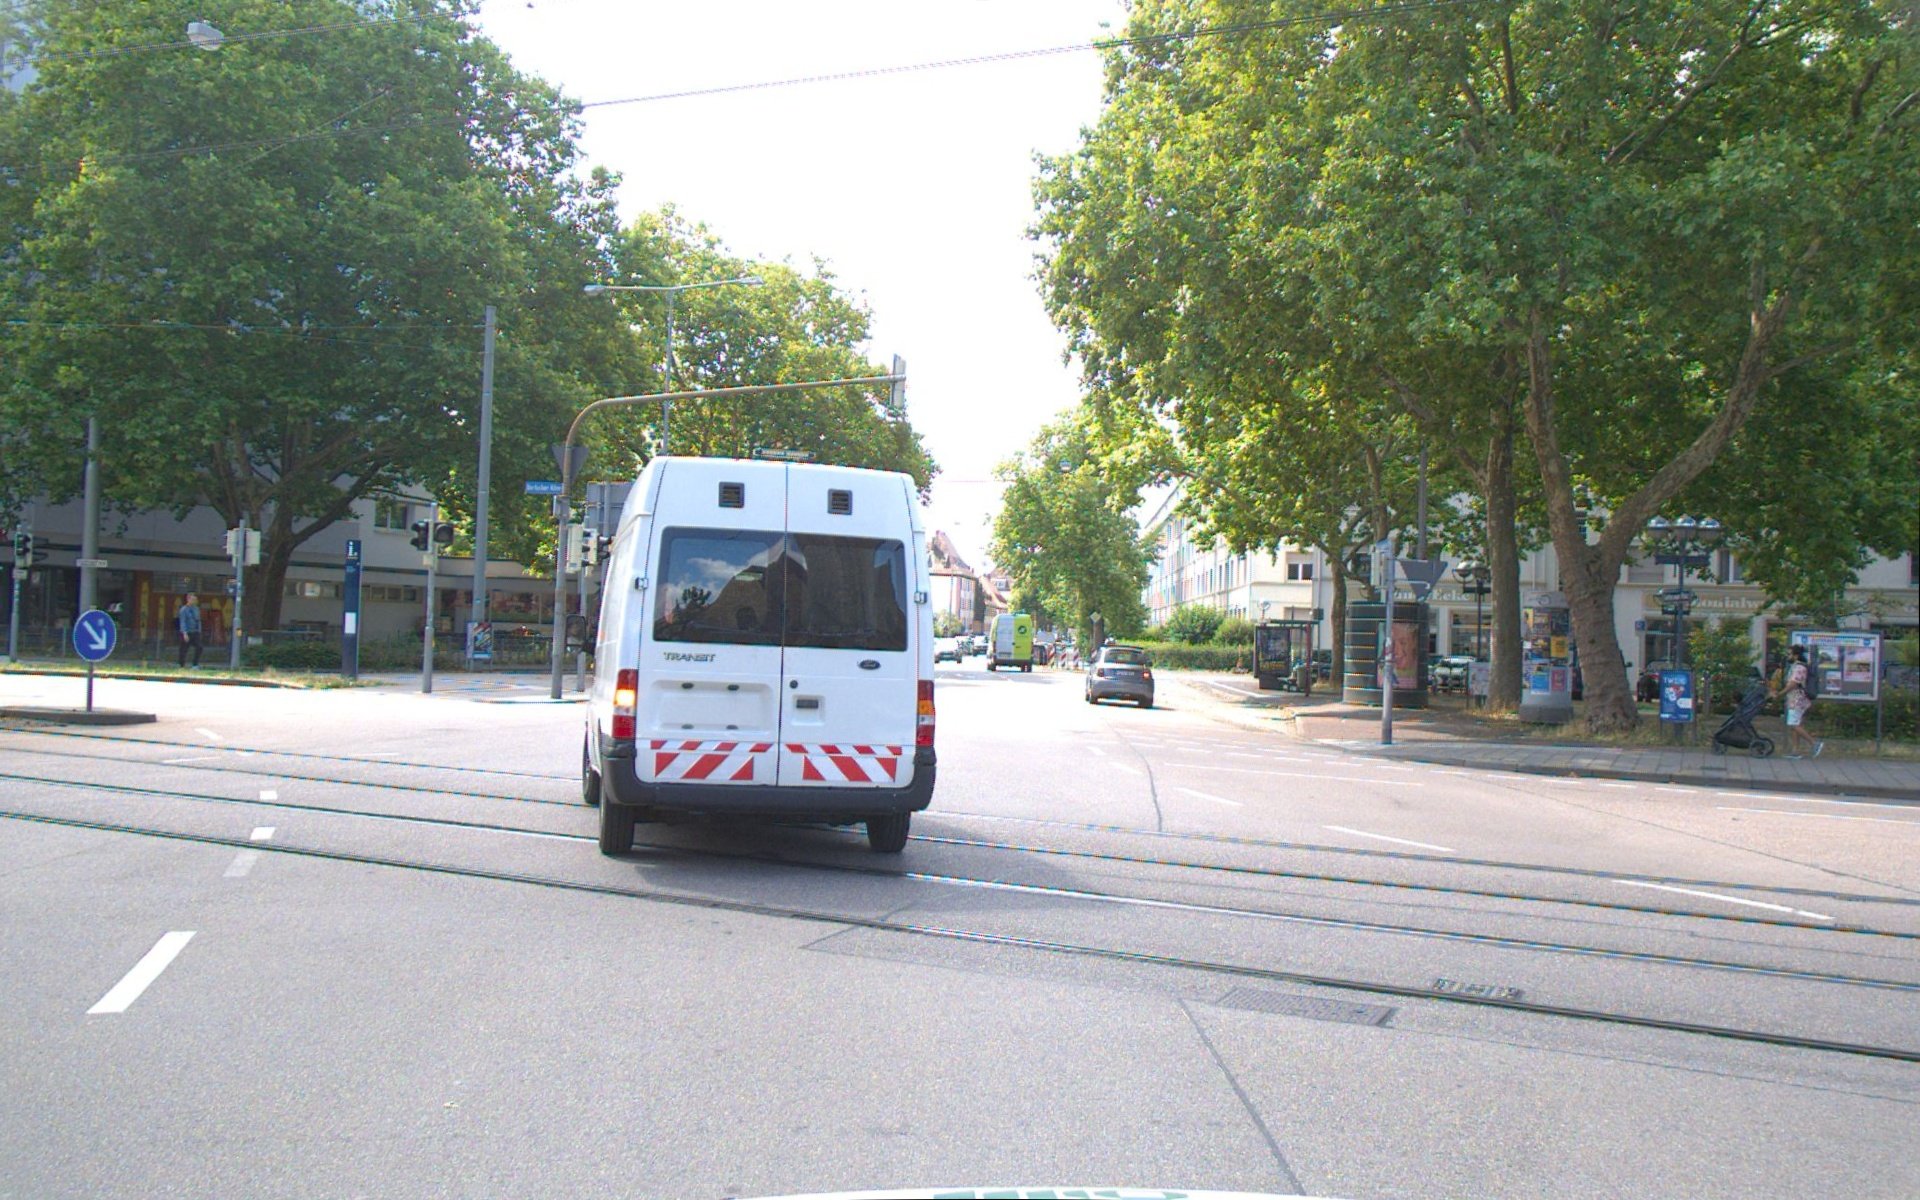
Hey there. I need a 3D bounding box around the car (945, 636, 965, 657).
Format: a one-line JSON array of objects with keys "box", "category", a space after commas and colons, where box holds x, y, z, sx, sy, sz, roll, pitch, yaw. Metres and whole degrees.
[{"box": [-0.463, 4.418, 157.917, 1.618, 1.966, 3.750, 2, -1, 3], "category": "car"}]

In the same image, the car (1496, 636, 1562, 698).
[{"box": [21.690, 2.544, 62.916, 1.954, 2.221, 4.254, 1, -2, 24], "category": "car"}]

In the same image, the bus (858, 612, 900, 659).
[{"box": [-4.949, 2.193, 101.510, 2.346, 2.756, 6.367, 2, -1, -2], "category": "bus"}]

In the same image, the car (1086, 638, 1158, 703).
[{"box": [4.252, 1.834, 43.901, 1.656, 1.565, 3.469, 2, -1, 2], "category": "car"}]

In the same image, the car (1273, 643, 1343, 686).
[{"box": [14.092, 2.595, 66.777, 1.986, 1.629, 4.537, 1, -2, 22], "category": "car"}]

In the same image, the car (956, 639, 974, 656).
[{"box": [0.515, 4.962, 172.976, 1.665, 1.690, 3.750, 2, -1, 3], "category": "car"}]

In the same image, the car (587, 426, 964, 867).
[{"box": [-1.491, 0.305, 11.429, 2.011, 2.374, 4.699, 2, -1, -12], "category": "car"}]

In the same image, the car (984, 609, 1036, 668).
[{"box": [2.345, 1.828, 79.694, 2.077, 2.687, 6.325, 2, -1, -2], "category": "car"}]

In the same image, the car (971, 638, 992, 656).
[{"box": [2.127, 4.544, 161.204, 1.823, 1.690, 3.750, 2, -1, 3], "category": "car"}]

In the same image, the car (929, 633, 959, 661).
[{"box": [-1.019, 3.046, 107.610, 1.749, 1.690, 4.316, 2, -1, 2], "category": "car"}]

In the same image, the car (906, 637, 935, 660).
[{"box": [-2.846, 3.477, 118.760, 1.807, 1.590, 4.000, 2, -1, 2], "category": "car"}]

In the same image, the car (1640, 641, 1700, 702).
[{"box": [26.162, 2.622, 60.874, 1.954, 2.113, 3.997, 1, -2, 24], "category": "car"}]

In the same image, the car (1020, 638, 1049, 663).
[{"box": [4.800, 3.261, 106.907, 1.689, 1.582, 3.633, 2, -1, 1], "category": "car"}]

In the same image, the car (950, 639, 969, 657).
[{"box": [-0.012, 4.778, 166.203, 1.625, 1.690, 3.750, 2, -1, 3], "category": "car"}]

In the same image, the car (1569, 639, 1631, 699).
[{"box": [24.099, 2.596, 62.202, 1.954, 2.113, 3.997, 1, -2, 24], "category": "car"}]

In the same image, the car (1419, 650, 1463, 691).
[{"box": [17.603, 2.578, 60.591, 1.434, 1.413, 3.069, 2, -1, 15], "category": "car"}]

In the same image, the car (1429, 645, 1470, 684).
[{"box": [18.926, 2.496, 63.935, 1.434, 1.413, 3.237, 1, -2, 17], "category": "car"}]

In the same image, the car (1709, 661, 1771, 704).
[{"box": [28.261, 2.976, 60.009, 1.954, 1.447, 3.997, 1, -2, 24], "category": "car"}]

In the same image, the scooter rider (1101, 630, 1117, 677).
[{"box": [5.958, 2.122, 66.070, 0.515, 1.844, 0.649, 2, -1, -1], "category": "scooter rider"}]

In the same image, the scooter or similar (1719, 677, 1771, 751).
[{"box": [11.968, 1.734, 25.209, 0.692, 1.075, 0.490, 1, -1, 26], "category": "scooter or similar"}]

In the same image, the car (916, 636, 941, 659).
[{"box": [-2.527, 3.777, 132.328, 1.692, 1.690, 3.750, 2, -1, 3], "category": "car"}]

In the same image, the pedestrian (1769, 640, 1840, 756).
[{"box": [12.681, 1.459, 24.855, 0.902, 1.675, 0.570, 1, -1, 26], "category": "pedestrian"}]

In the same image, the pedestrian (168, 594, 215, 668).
[{"box": [-17.350, 0.696, 37.353, 0.766, 1.627, 0.535, 1, -1, 21], "category": "pedestrian"}]

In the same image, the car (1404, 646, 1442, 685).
[{"box": [21.163, 2.975, 75.528, 1.435, 1.695, 3.067, 1, -2, 20], "category": "car"}]
